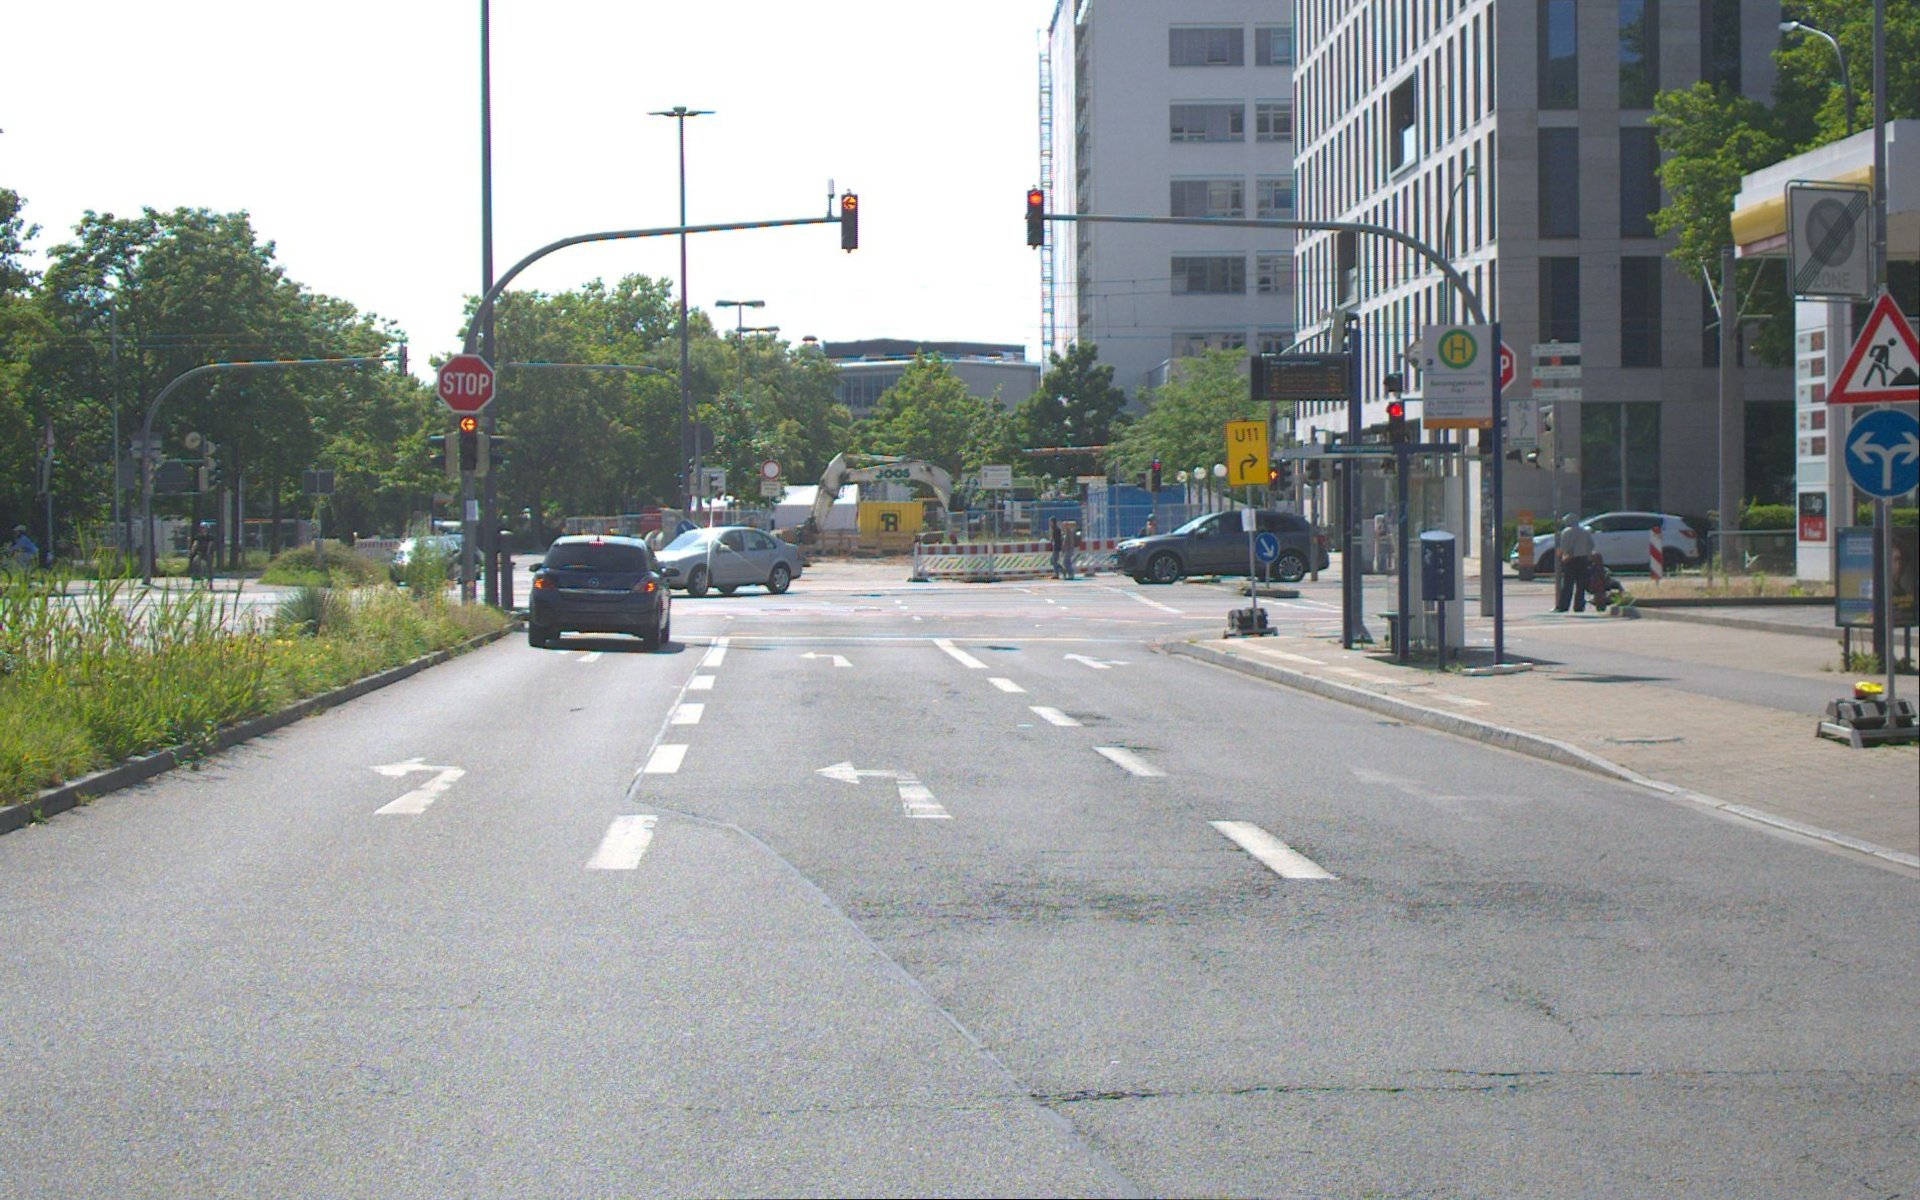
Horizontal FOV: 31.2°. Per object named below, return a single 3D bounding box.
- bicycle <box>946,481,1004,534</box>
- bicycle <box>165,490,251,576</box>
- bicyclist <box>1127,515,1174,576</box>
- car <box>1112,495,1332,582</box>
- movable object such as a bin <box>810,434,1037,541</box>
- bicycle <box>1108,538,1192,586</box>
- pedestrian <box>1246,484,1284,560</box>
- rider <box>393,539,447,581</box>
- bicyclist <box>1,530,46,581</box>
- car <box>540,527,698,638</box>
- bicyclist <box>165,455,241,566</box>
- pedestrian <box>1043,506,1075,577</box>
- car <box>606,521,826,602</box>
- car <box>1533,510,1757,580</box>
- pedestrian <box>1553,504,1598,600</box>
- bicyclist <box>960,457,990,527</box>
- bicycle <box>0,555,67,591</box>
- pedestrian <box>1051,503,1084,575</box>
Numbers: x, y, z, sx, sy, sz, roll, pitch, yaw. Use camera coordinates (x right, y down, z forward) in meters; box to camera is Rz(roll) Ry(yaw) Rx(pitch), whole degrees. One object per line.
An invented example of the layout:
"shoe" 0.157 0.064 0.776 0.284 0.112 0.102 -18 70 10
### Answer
"bicycle" 0.552 -3.421 127.315 2.088 1.955 0.827 0 1 3
"bicycle" -20.230 -1.802 92.585 1.599 2.261 4.001 0 1 -3
"bicyclist" 5.159 -1.477 93.114 1.240 1.667 0.525 0 1 6
"car" 6.101 -1.437 80.363 4.853 2.007 2.000 0 1 -5
"movable object such as a bin" -1.572 -4.842 148.077 9.675 4.534 3.164 0 1 -1
"bicycle" 5.152 -1.030 93.112 2.229 1.280 0.525 0 1 6
"pedestrian" 8.155 -2.079 91.822 0.779 2.007 0.776 1 1 26
"rider" -15.720 -1.170 100.167 1.391 1.191 2.698 0 1 -5
"bicyclist" -23.364 -1.116 85.778 1.051 1.270 0.492 0 1 -13
"car" -4.529 -0.263 45.531 1.993 1.393 4.001 0 1 -6
"bicyclist" -20.197 -2.373 91.744 1.599 2.921 2.354 0 1 -3
"pedestrian" 2.784 -1.648 96.590 0.788 2.007 0.542 0 1 -13
"car" -5.166 -0.842 73.120 4.383 1.633 1.999 -2 2 -43
"car" 16.261 -1.316 81.730 4.853 1.631 2.000 0 1 -4
"pedestrian" 9.912 -0.770 55.379 0.618 1.538 0.461 0 1 -4
"bicyclist" 0.552 -4.001 127.299 1.069 2.565 0.827 0 1 3
"bicycle" -23.330 -0.666 85.784 1.999 0.880 0.527 0 1 -13
"pedestrian" 2.995 -1.702 95.867 0.788 2.007 0.542 0 1 -13
